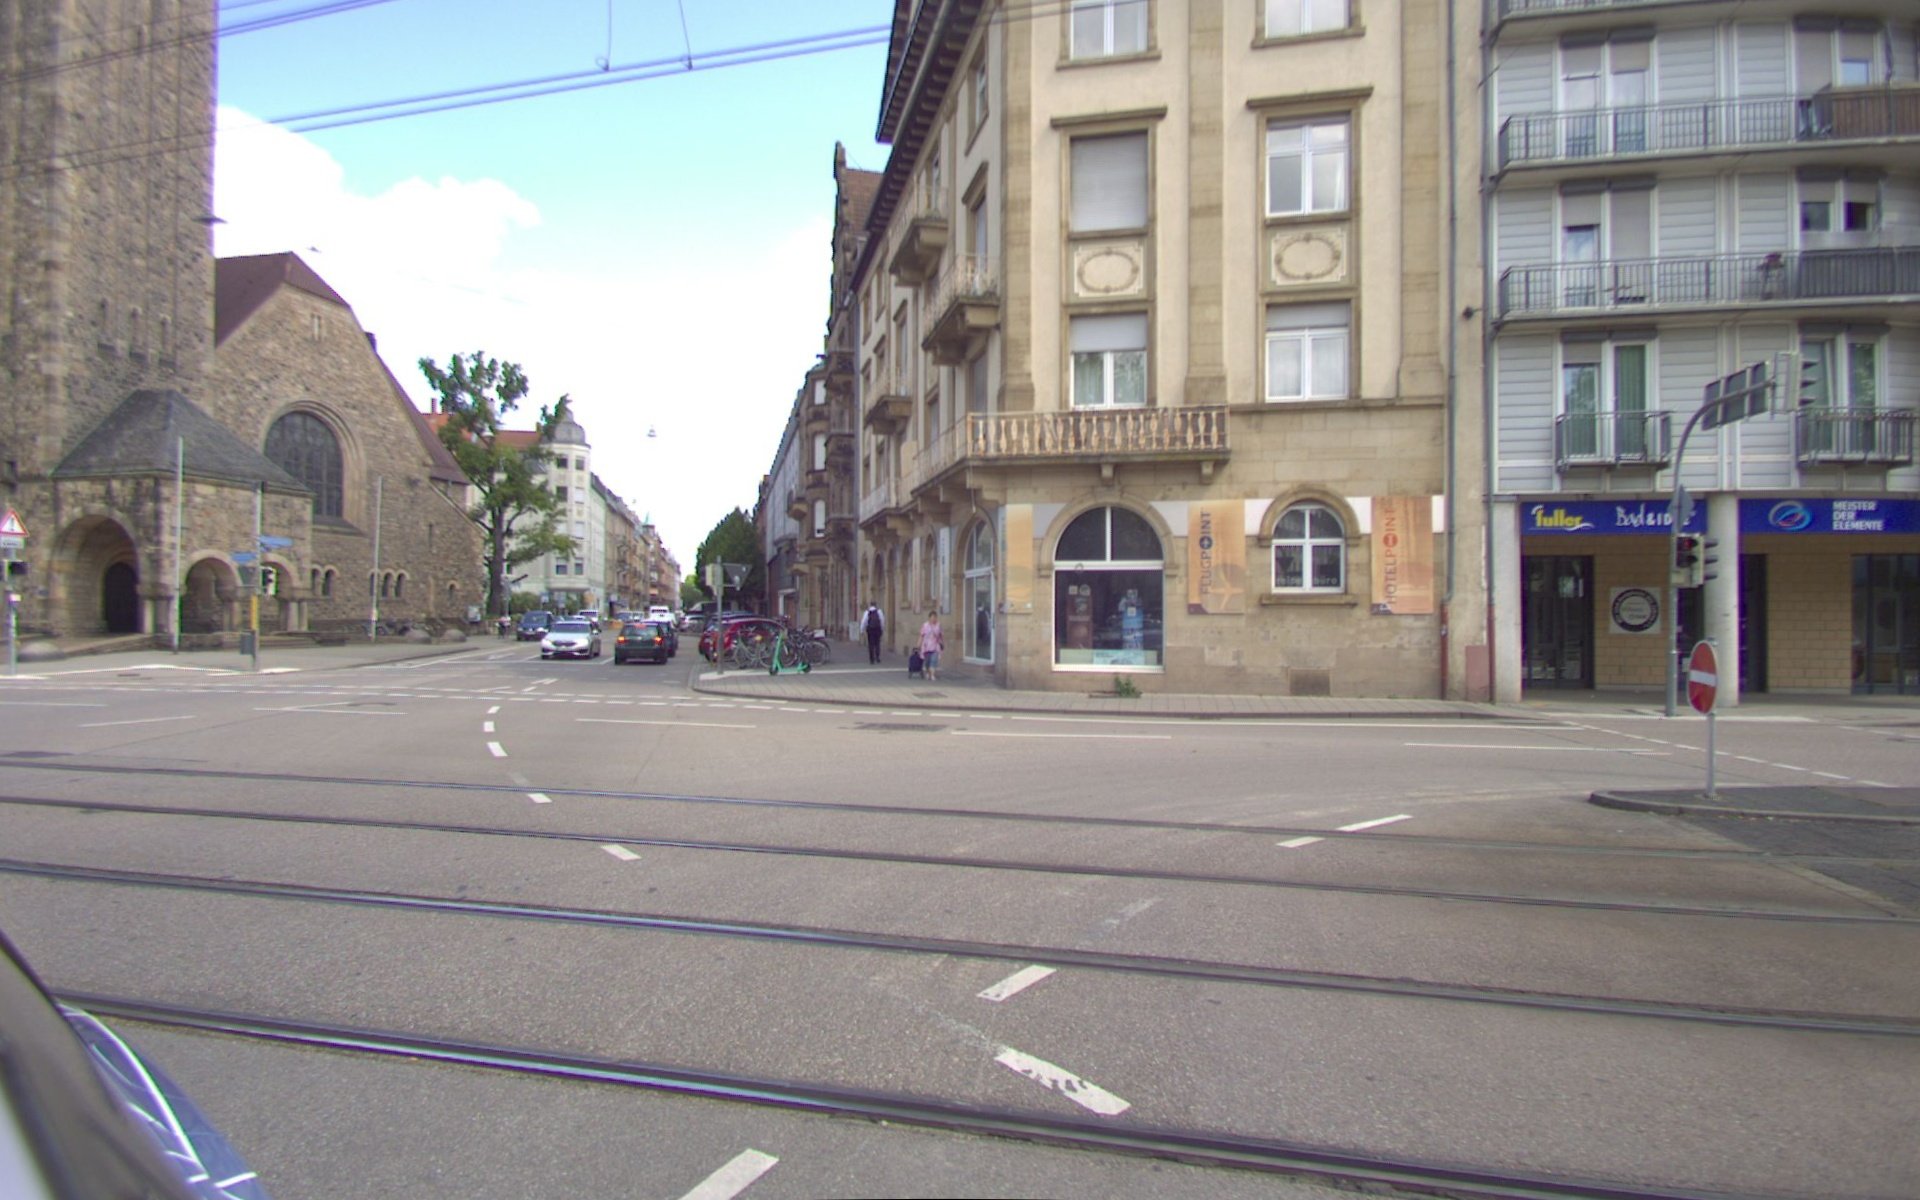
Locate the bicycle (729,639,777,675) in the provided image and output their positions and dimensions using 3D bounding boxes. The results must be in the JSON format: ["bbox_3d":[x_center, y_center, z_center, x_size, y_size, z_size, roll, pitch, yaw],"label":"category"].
[{"bbox_3d":[-6.546,1.803,31.996,1.460,1.060,0.463,-2,-1,-13],"label":"bicycle"}]

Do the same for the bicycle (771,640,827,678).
[{"bbox_3d":[-4.855,1.781,30.563,1.589,1.060,0.481,-2,-1,-5],"label":"bicycle"}]

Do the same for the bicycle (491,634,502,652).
[{"bbox_3d":[-28.802,2.668,62.900,0.472,1.060,1.447,1,-2,-18],"label":"bicycle"}]

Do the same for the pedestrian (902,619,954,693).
[{"bbox_3d":[-0.754,1.263,23.270,0.929,1.607,0.998,-3,-1,-12],"label":"pedestrian"}]

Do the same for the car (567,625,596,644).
[{"bbox_3d":[-31.206,2.823,83.522,1.656,1.508,3.900,0,-2,-12],"label":"car"}]

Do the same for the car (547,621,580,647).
[{"bbox_3d":[-28.862,2.466,73.785,1.656,1.805,4.010,0,-2,-12],"label":"car"}]

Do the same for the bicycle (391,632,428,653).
[{"bbox_3d":[-32.244,2.508,59.311,1.917,1.120,0.585,3,-1,9],"label":"bicycle"}]

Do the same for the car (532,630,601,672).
[{"bbox_3d":[-15.190,1.943,39.303,1.798,1.459,4.396,2,-2,-12],"label":"car"}]

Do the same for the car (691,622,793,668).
[{"bbox_3d":[-9.107,1.873,42.481,1.800,1.702,3.905,-4,-2,37],"label":"car"}]

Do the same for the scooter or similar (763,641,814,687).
[{"bbox_3d":[-4.522,1.683,26.703,1.237,1.155,0.480,-2,-1,5],"label":"scooter or similar"}]

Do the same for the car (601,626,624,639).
[{"bbox_3d":[-36.294,3.379,105.850,1.781,1.378,4.196,0,-2,-12],"label":"car"}]

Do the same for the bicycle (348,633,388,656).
[{"bbox_3d":[-32.821,2.452,56.104,1.917,1.120,0.585,3,-1,9],"label":"bicycle"}]

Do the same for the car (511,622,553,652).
[{"bbox_3d":[-26.293,2.254,62.286,1.656,1.805,4.155,0,-2,-12],"label":"car"}]

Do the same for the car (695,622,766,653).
[{"bbox_3d":[-13.774,2.269,60.882,1.728,1.597,3.905,-4,-1,37],"label":"car"}]

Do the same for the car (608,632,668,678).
[{"bbox_3d":[-11.317,1.908,35.749,1.690,1.444,3.828,1,-1,-13],"label":"car"}]

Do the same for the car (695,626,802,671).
[{"bbox_3d":[-8.231,1.886,39.654,1.728,1.468,3.907,-4,-1,36],"label":"car"}]

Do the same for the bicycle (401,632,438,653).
[{"bbox_3d":[-32.089,2.522,60.097,1.917,1.120,0.585,3,-1,9],"label":"bicycle"}]

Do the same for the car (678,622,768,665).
[{"bbox_3d":[-11.339,2.046,48.605,1.731,1.882,3.898,-3,-1,43],"label":"car"}]

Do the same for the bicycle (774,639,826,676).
[{"bbox_3d":[-4.962,1.779,31.476,1.558,1.060,0.481,-2,-1,-5],"label":"bicycle"}]

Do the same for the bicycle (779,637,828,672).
[{"bbox_3d":[-4.990,1.728,32.262,1.460,1.060,0.463,-2,-1,-12],"label":"bicycle"}]

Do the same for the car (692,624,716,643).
[{"bbox_3d":[-22.116,2.900,87.627,1.861,1.577,3.900,0,-2,-12],"label":"car"}]

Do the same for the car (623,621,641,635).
[{"bbox_3d":[-42.982,3.620,132.763,1.781,1.779,4.196,0,-2,-12],"label":"car"}]

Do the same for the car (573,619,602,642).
[{"bbox_3d":[-32.284,2.652,87.822,1.815,1.953,4.196,0,-2,-12],"label":"car"}]

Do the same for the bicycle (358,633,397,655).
[{"bbox_3d":[-32.709,2.464,56.810,1.917,1.120,0.585,3,-1,9],"label":"bicycle"}]

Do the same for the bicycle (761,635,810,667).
[{"bbox_3d":[-6.124,1.794,35.671,0.556,1.060,1.884,-3,-1,32],"label":"bicycle"}]

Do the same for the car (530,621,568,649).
[{"bbox_3d":[-27.299,2.338,67.292,1.656,1.805,4.010,0,-2,-12],"label":"car"}]

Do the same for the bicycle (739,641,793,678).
[{"bbox_3d":[-5.900,1.808,30.848,1.558,1.060,0.481,-2,-1,-5],"label":"bicycle"}]

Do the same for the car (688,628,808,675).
[{"bbox_3d":[-7.605,1.823,36.603,1.810,1.468,3.948,-3,-1,39],"label":"car"}]

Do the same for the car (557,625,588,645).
[{"bbox_3d":[-30.006,2.689,78.383,1.656,1.458,3.807,0,-2,-12],"label":"car"}]

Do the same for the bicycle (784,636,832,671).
[{"bbox_3d":[-4.946,1.743,32.961,1.459,1.060,0.464,-2,-1,-16],"label":"bicycle"}]

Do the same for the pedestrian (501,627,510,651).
[{"bbox_3d":[-28.306,2.412,62.999,0.458,1.466,0.558,1,-2,-18],"label":"pedestrian"}]

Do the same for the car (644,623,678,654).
[{"bbox_3d":[-18.458,2.395,62.675,1.787,1.789,4.294,1,-3,-14],"label":"car"}]

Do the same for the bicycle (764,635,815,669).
[{"bbox_3d":[-5.743,1.733,34.059,1.605,1.060,0.559,-2,-1,-14],"label":"bicycle"}]

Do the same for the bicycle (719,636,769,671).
[{"bbox_3d":[-7.221,1.782,33.867,0.556,1.060,1.793,-3,-1,31],"label":"bicycle"}]

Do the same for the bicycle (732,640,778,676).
[{"bbox_3d":[-6.404,1.800,31.574,1.350,1.060,0.419,-2,-1,-15],"label":"bicycle"}]

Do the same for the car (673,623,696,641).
[{"bbox_3d":[-25.687,2.952,94.358,1.861,1.664,3.900,0,-2,-12],"label":"car"}]

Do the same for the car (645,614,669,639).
[{"bbox_3d":[-31.505,2.766,105.397,2.048,2.464,5.961,2,-3,-14],"label":"car"}]

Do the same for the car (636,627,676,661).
[{"bbox_3d":[-15.375,2.195,51.334,1.746,1.594,4.031,1,-1,-14],"label":"car"}]

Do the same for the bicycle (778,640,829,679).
[{"bbox_3d":[-4.551,1.732,29.510,1.422,1.060,0.481,-2,-1,-3],"label":"bicycle"}]

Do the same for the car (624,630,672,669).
[{"bbox_3d":[-13.130,2.061,42.709,1.723,1.552,3.942,1,-2,-14],"label":"car"}]

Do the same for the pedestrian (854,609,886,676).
[{"bbox_3d":[-2.601,1.216,29.229,0.792,1.874,0.908,0,1,-13],"label":"pedestrian"}]

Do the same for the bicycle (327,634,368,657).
[{"bbox_3d":[-33.015,2.425,54.543,1.917,1.120,0.585,3,-1,9],"label":"bicycle"}]

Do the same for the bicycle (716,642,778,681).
[{"bbox_3d":[-6.305,1.824,30.015,1.713,1.060,0.530,-2,-1,3],"label":"bicycle"}]

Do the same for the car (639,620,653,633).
[{"bbox_3d":[-49.963,4.228,161.043,1.781,1.927,4.196,0,-2,-12],"label":"car"}]

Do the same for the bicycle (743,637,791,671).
[{"bbox_3d":[-6.329,1.757,33.133,1.459,1.060,0.464,-2,-2,-16],"label":"bicycle"}]

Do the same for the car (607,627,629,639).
[{"bbox_3d":[-37.471,3.614,110.968,1.781,1.378,4.196,0,-2,-12],"label":"car"}]

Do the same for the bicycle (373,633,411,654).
[{"bbox_3d":[-32.415,2.482,57.766,1.917,1.120,0.585,3,-1,9],"label":"bicycle"}]
